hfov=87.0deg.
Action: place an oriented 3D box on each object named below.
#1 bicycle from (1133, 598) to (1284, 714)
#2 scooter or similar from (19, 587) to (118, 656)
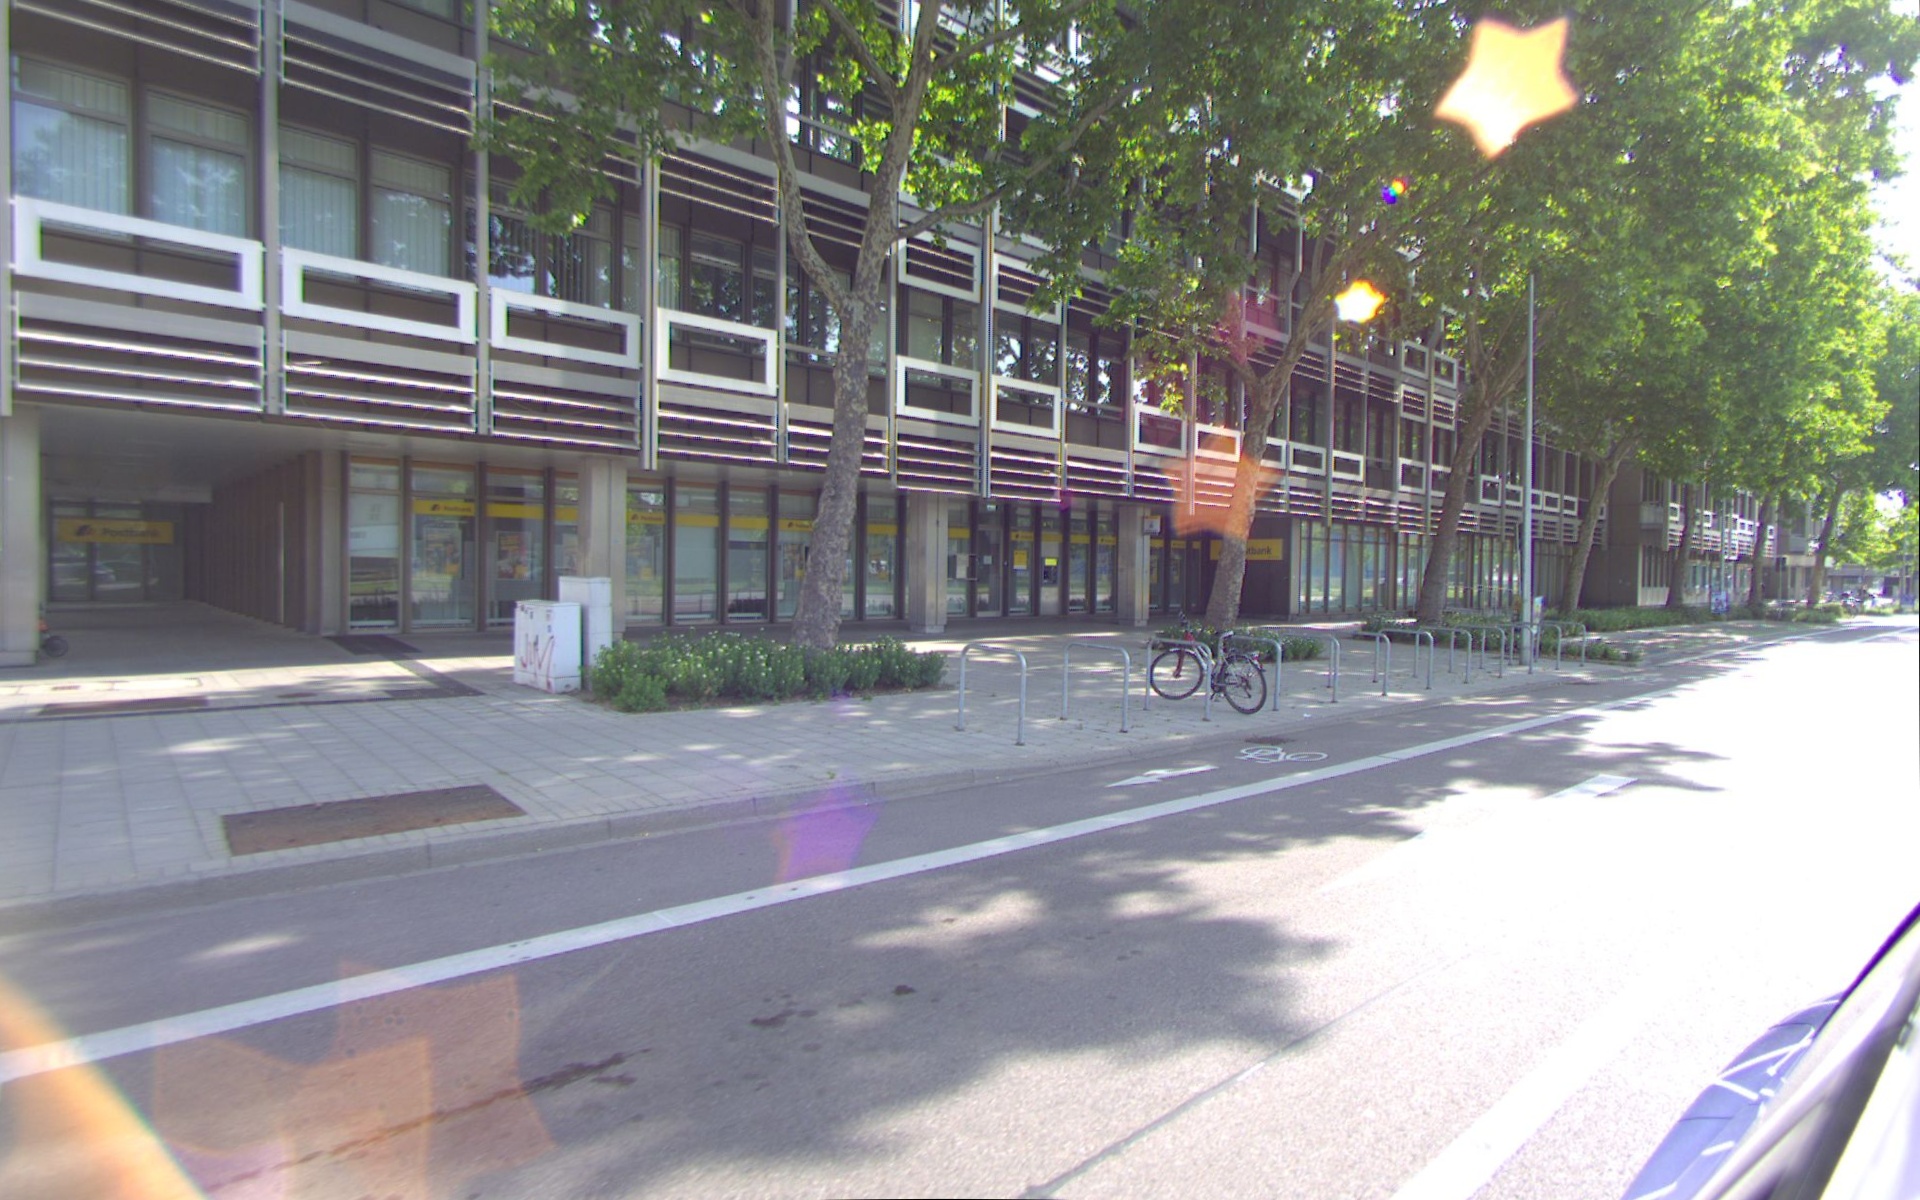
[{"bbox_3d":[2.954,0.627,12.221,0.527,1.202,1.833,0,3,-36],"label":"bicycle"},{"bbox_3d":[-11.464,0.258,13.029,0.943,0.853,0.279,0,1,-42],"label":"scooter or similar"}]
